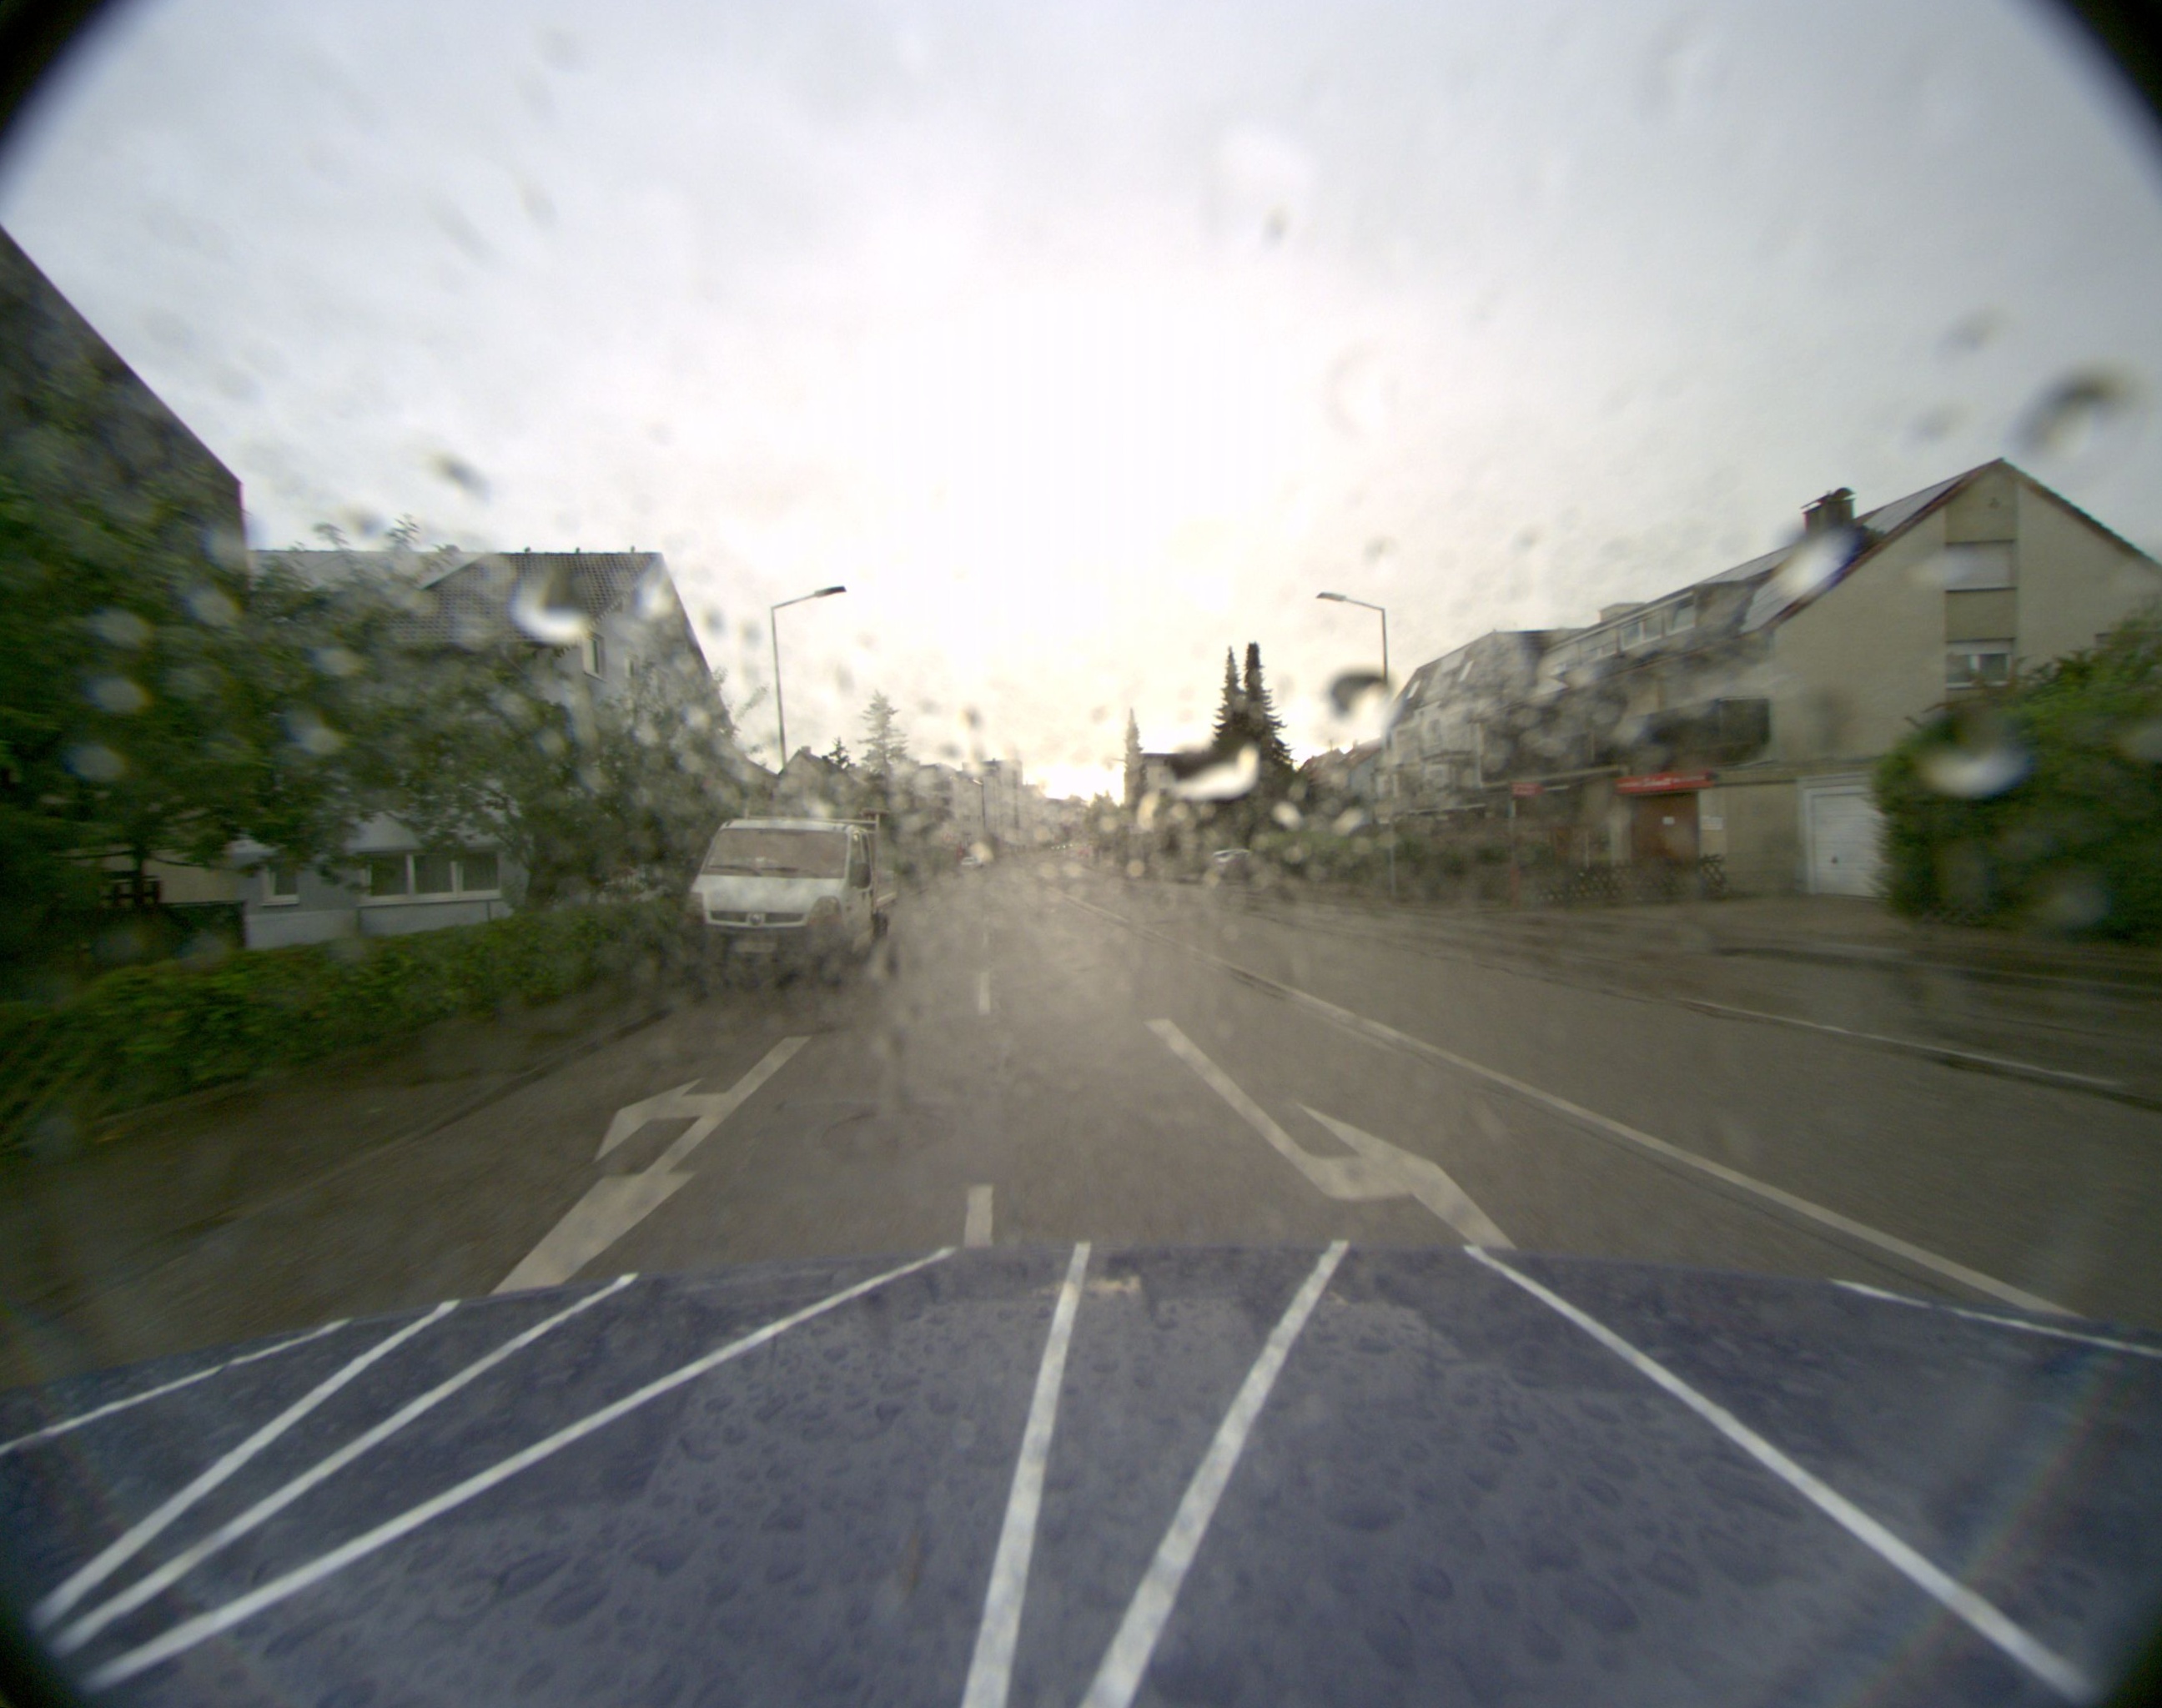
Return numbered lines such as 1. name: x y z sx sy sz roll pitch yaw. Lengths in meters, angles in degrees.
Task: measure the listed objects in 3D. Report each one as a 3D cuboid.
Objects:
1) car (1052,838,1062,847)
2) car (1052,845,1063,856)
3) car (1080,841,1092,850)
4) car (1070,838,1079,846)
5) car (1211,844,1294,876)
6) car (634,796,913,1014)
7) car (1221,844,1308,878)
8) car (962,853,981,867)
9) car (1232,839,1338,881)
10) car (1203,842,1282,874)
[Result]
1. car: -4.840 -2.231 152.491 1.852 1.753 4.120 -3 1 -2
2. car: -4.515 -0.679 145.433 1.852 1.870 4.119 -3 1 -2
3. car: 1.000 -1.643 141.816 1.998 1.606 4.001 -3 1 4
4. car: -1.508 -2.887 176.451 1.852 1.753 4.121 -3 1 3
5. car: 9.521 0.332 42.492 4.157 1.434 1.890 -4 1 0
6. car: -4.214 0.565 11.950 2.399 2.418 6.428 -2 0 -7
7. car: 9.621 0.355 40.002 4.036 1.434 1.812 -4 1 -2
8. car: -13.461 0.740 93.594 1.913 1.622 3.701 -3 1 -3
9. car: 9.760 0.268 36.644 4.469 1.651 2.000 -4 1 0
10. car: 9.564 0.219 45.231 4.116 1.536 1.999 -4 1 -2
